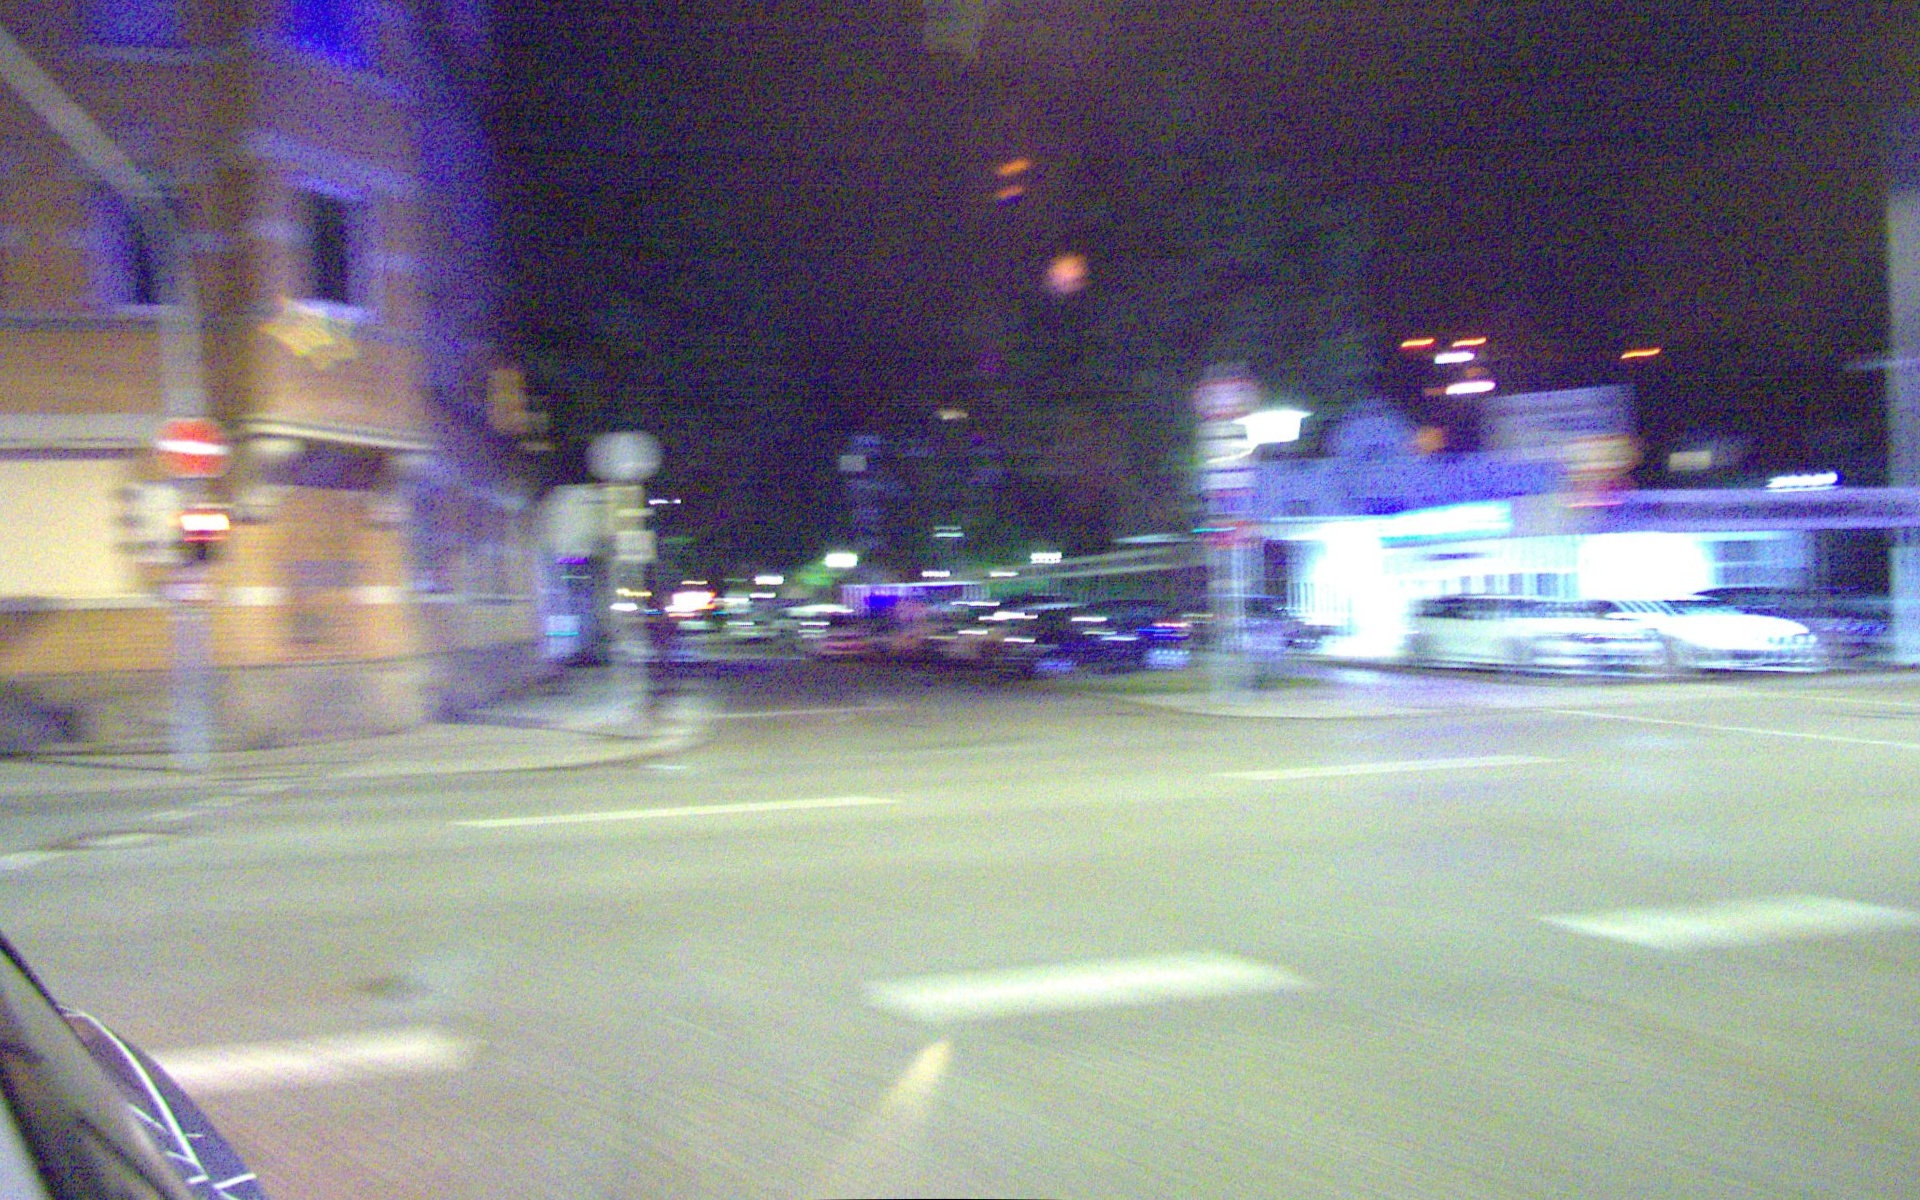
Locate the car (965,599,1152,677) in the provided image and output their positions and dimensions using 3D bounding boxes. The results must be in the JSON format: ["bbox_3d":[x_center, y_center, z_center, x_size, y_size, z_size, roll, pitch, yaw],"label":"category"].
[{"bbox_3d":[2.306,0.847,24.113,3.932,1.634,2.006,-2,0,-16],"label":"car"}]

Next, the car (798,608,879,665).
[{"bbox_3d":[-4.189,1.188,34.319,1.966,1.795,4.012,-1,0,-18],"label":"car"}]

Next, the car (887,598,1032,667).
[{"bbox_3d":[-0.040,0.934,30.652,3.932,1.900,2.006,-2,0,-16],"label":"car"}]

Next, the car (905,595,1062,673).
[{"bbox_3d":[0.631,0.907,28.488,3.932,1.960,2.006,-2,0,-16],"label":"car"}]

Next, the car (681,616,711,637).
[{"bbox_3d":[-21.839,2.156,83.736,1.965,1.646,4.013,-1,0,-21],"label":"car"}]

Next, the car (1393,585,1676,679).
[{"bbox_3d":[10.124,0.527,18.323,1.967,1.460,4.464,-1,0,-12],"label":"car"}]

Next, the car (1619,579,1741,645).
[{"bbox_3d":[21.105,0.343,29.617,3.937,1.788,2.003,0,-1,-41],"label":"car"}]

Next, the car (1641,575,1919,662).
[{"bbox_3d":[15.975,0.329,19.612,1.967,1.460,4.464,-1,0,-12],"label":"car"}]

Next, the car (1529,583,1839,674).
[{"bbox_3d":[13.128,0.483,18.771,1.967,1.460,4.465,-1,0,-13],"label":"car"}]

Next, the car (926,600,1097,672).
[{"bbox_3d":[1.305,0.882,26.204,3.932,1.634,2.006,-2,0,-16],"label":"car"}]

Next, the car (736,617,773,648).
[{"bbox_3d":[-11.825,1.847,58.147,1.967,1.646,4.010,-1,0,-13],"label":"car"}]

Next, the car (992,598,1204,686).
[{"bbox_3d":[2.886,0.821,21.488,3.932,1.634,2.006,-2,0,-16],"label":"car"}]
